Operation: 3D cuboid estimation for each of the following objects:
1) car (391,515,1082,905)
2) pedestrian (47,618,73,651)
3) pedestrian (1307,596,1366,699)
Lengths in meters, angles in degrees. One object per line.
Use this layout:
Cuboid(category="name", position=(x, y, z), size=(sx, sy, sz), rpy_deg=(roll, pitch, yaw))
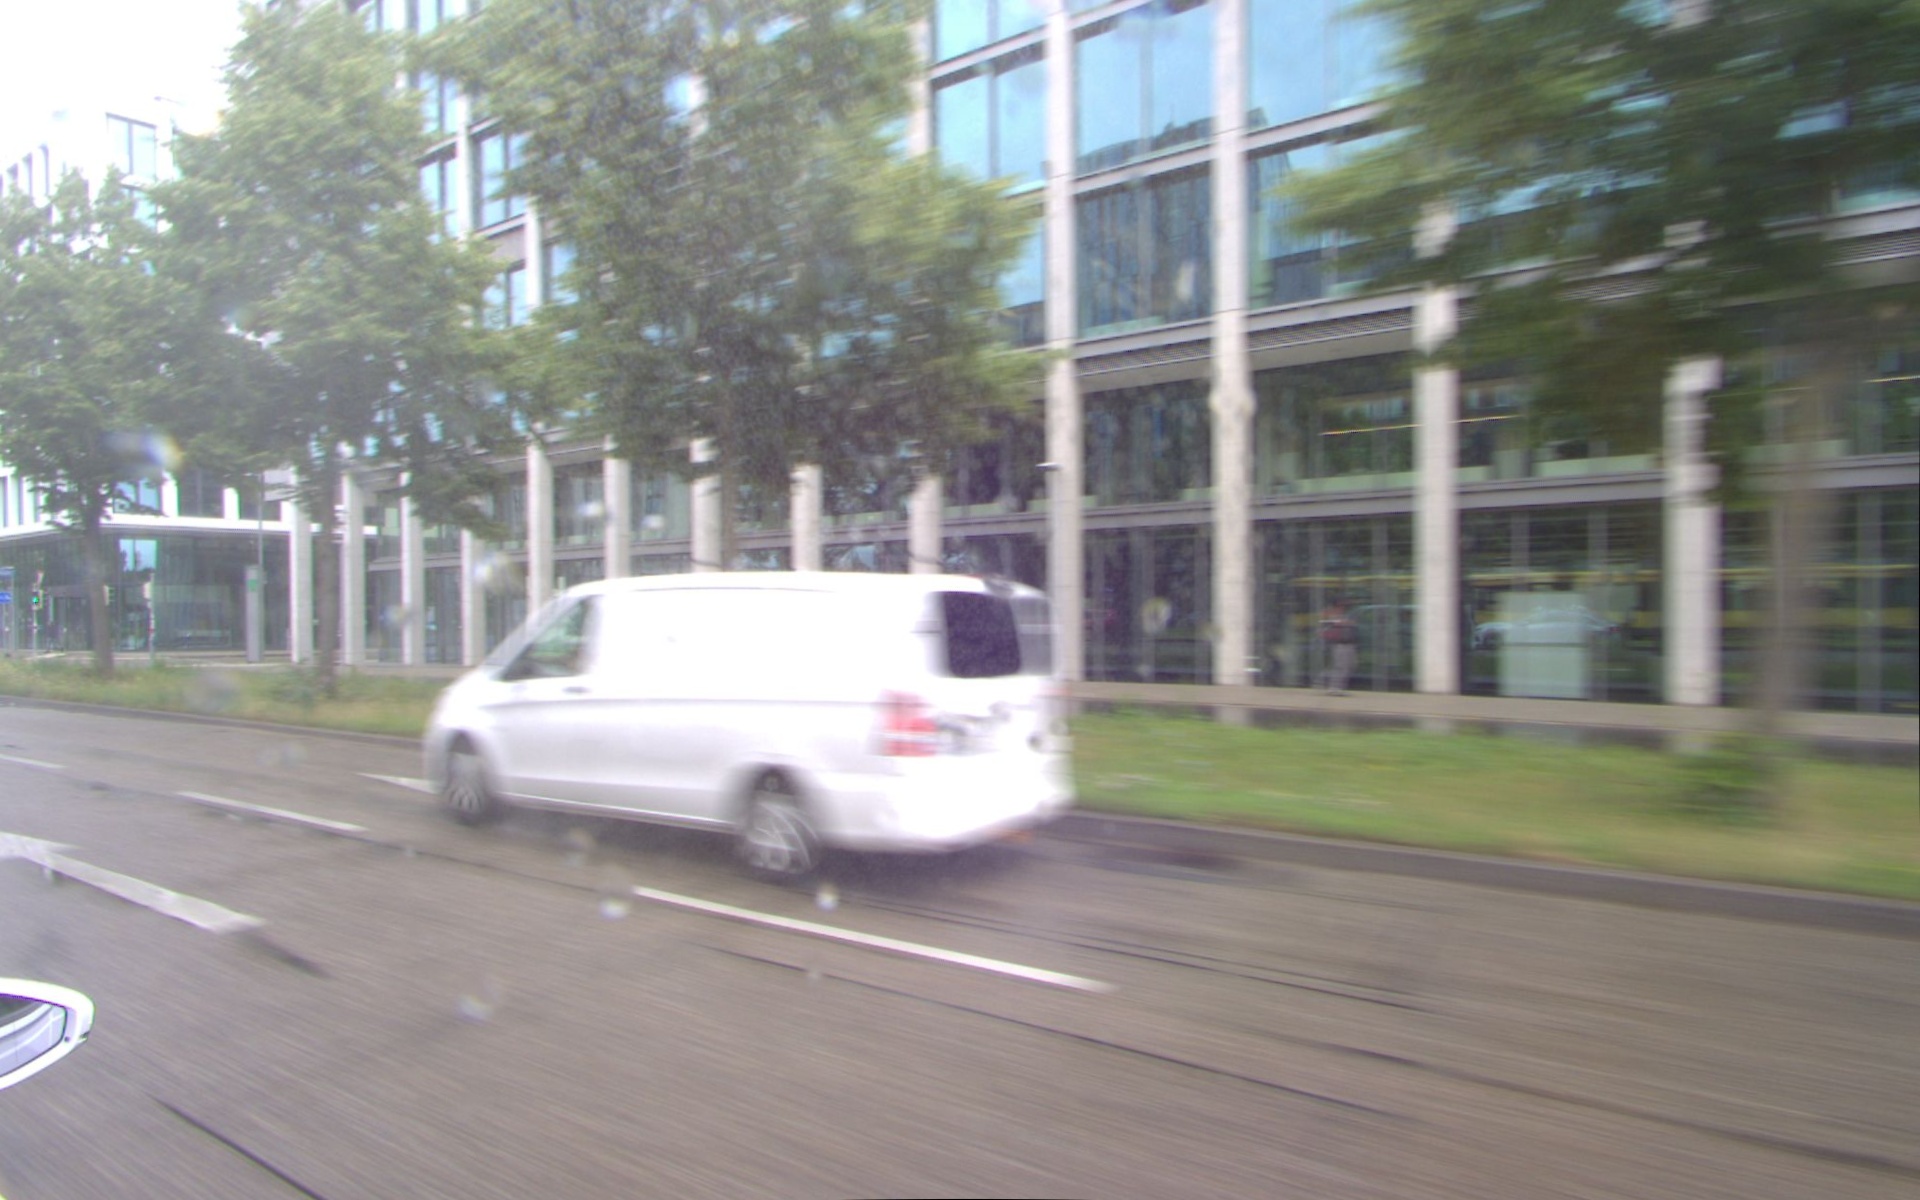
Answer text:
Cuboid(category="car", position=(-1.807, 0.642, 7.327), size=(5.019, 2.004, 1.964), rpy_deg=(-1, -2, 32))
Cuboid(category="pedestrian", position=(-48.642, 1.862, 54.102), size=(0.769, 1.729, 0.680), rpy_deg=(0, -1, 0))
Cuboid(category="pedestrian", position=(6.594, 0.813, 17.525), size=(0.849, 1.738, 0.715), rpy_deg=(0, 2, 31))
